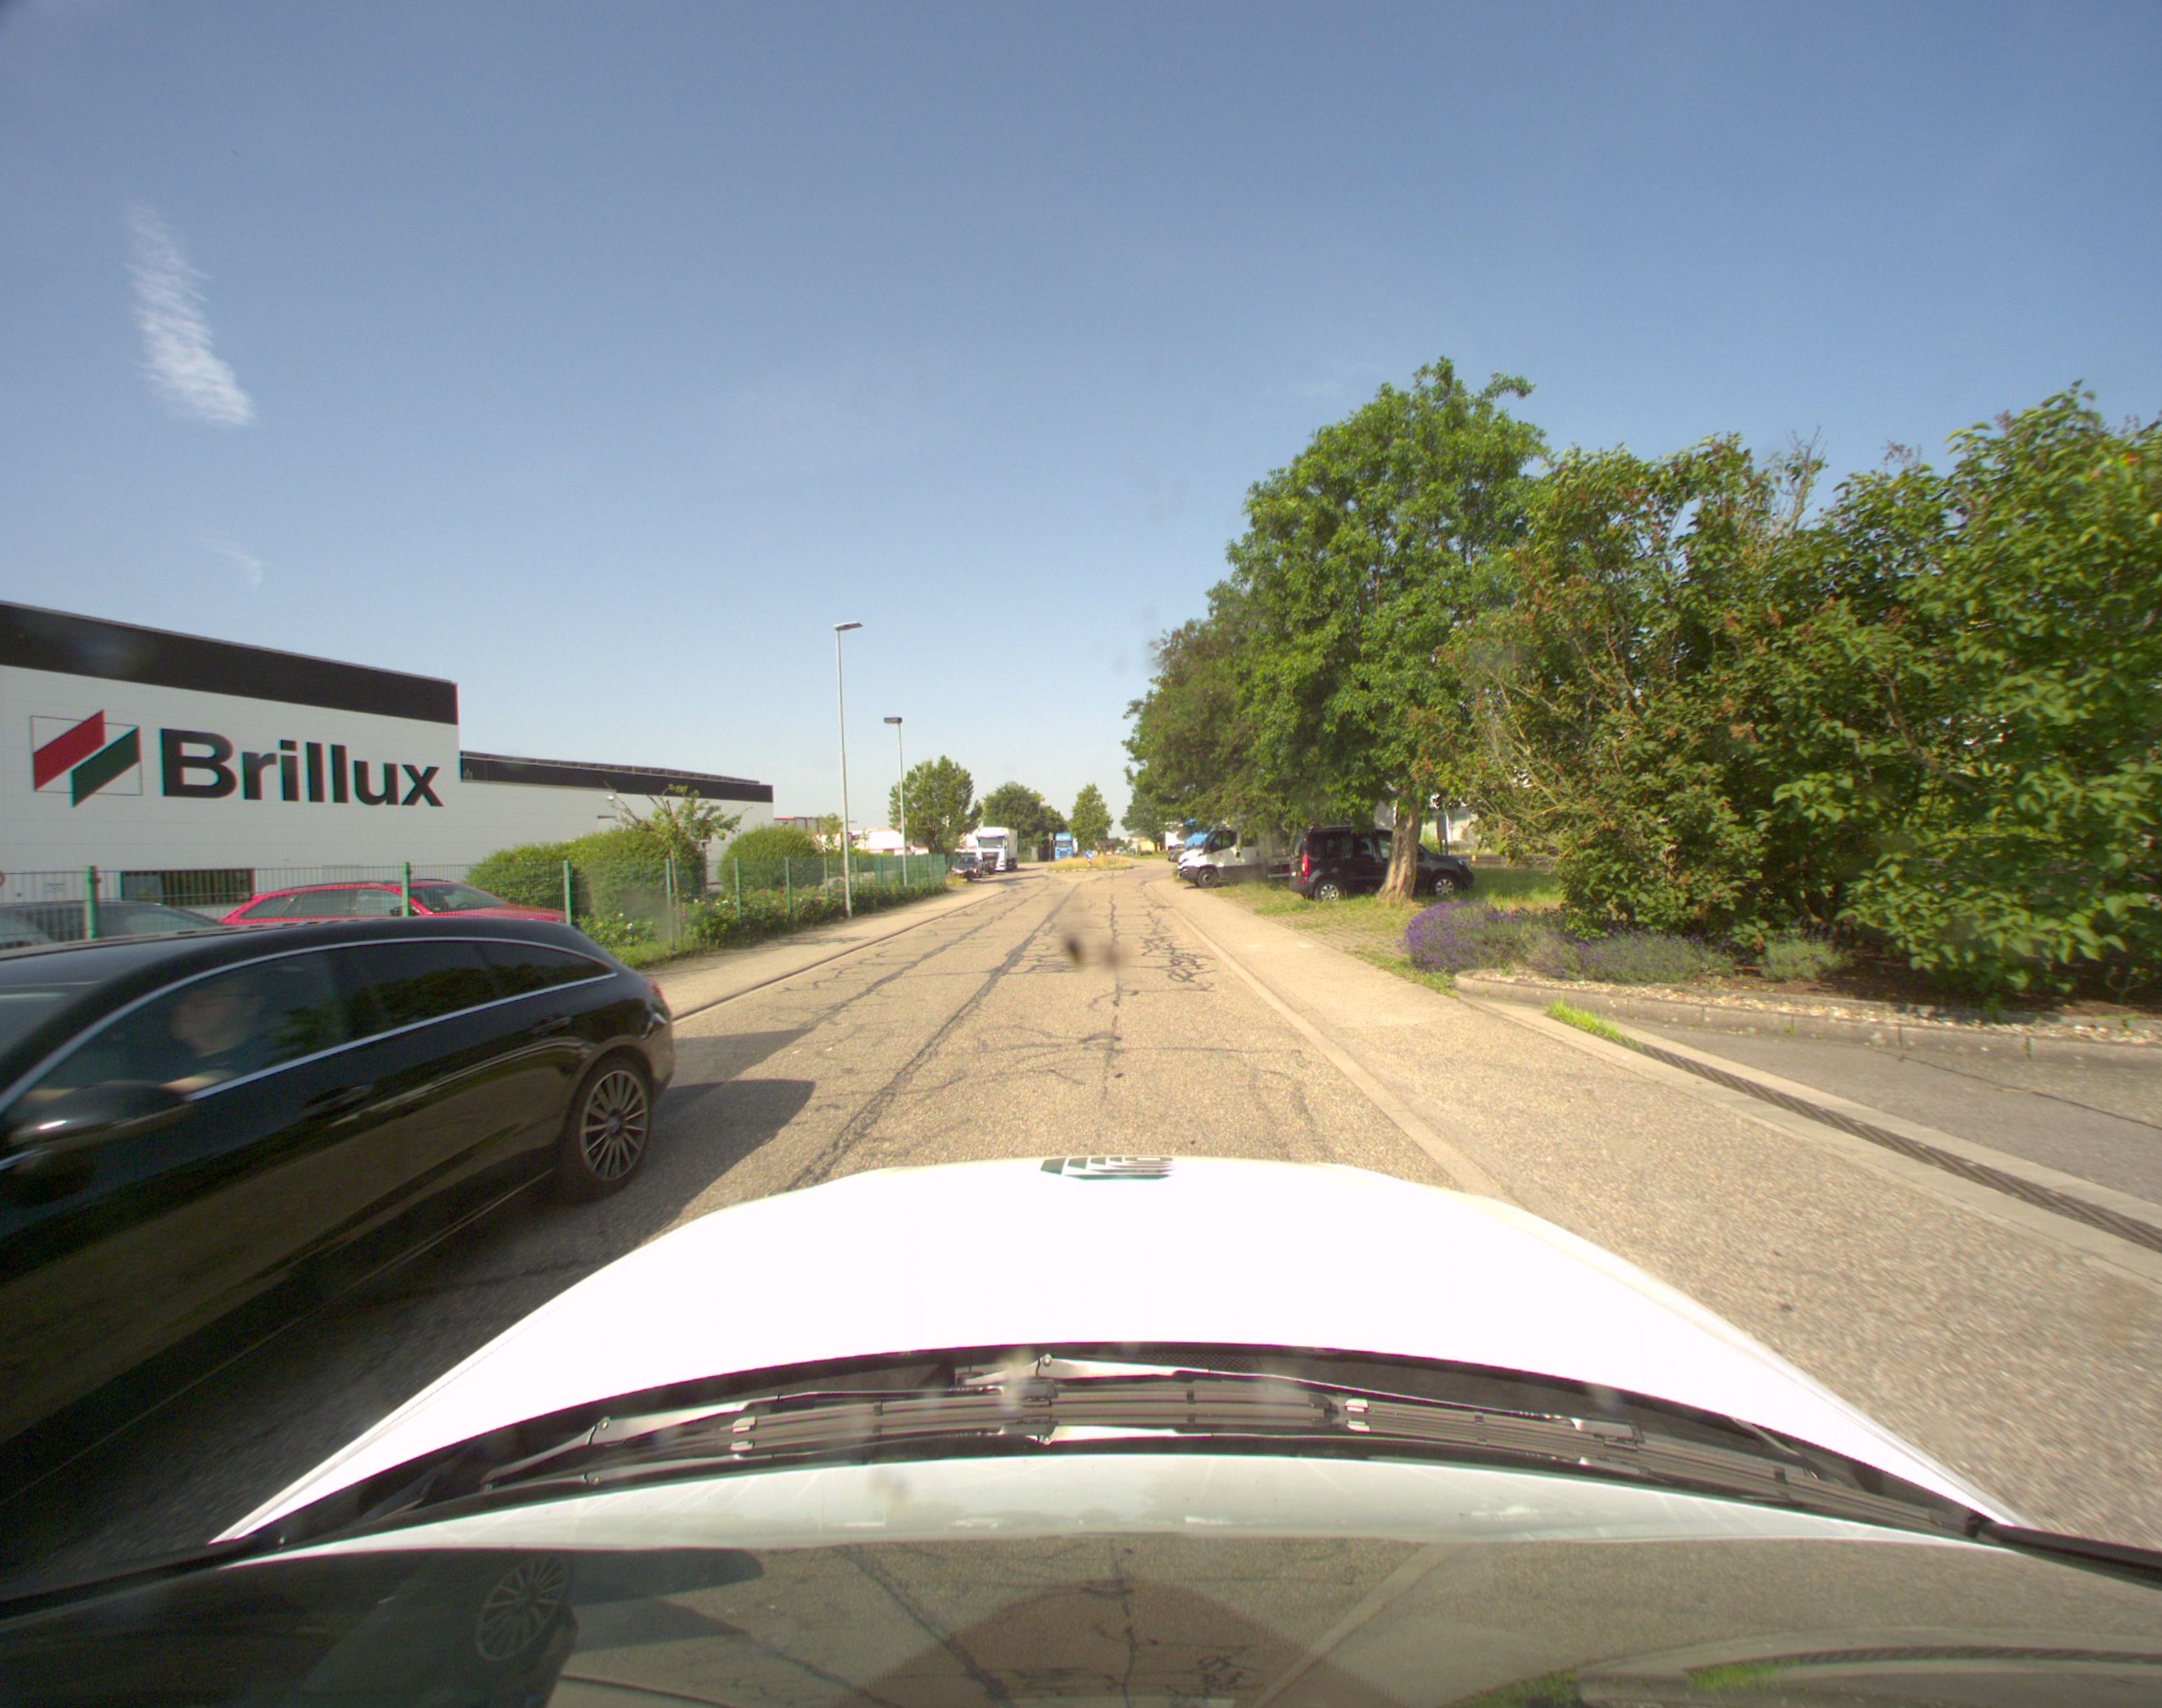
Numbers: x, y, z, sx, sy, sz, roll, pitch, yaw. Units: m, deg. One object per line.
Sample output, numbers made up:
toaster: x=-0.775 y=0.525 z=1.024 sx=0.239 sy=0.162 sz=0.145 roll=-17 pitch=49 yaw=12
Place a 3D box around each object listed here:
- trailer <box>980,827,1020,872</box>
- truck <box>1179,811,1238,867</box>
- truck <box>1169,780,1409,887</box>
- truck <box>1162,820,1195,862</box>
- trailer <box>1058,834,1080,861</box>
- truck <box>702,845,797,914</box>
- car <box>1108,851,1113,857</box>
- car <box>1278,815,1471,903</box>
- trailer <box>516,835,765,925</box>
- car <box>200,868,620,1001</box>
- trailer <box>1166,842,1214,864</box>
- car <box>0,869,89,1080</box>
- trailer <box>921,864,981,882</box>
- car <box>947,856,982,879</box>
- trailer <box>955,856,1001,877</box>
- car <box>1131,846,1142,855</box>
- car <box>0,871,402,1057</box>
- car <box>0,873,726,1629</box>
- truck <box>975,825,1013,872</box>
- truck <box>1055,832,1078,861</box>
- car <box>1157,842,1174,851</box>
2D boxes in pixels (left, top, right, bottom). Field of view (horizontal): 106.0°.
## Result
trailer: x=-7.387 y=-0.362 z=74.770 sx=2.689 sy=3.922 sz=7.577 roll=-1 pitch=-1 yaw=1
truck: x=9.188 y=-0.962 z=59.834 sx=2.877 sy=3.535 sz=9.761 roll=-6 pitch=-1 yaw=3
truck: x=7.596 y=-0.721 z=30.527 sx=8.180 sy=3.370 sz=2.741 roll=-3 pitch=-1 yaw=0
truck: x=10.013 y=-1.330 z=83.782 sx=2.735 sy=3.981 sz=4.002 roll=-5 pitch=0 yaw=2
trailer: x=-1.710 y=-0.853 z=124.142 sx=2.820 sy=3.843 sz=12.040 roll=-1 pitch=-1 yaw=2
truck: x=-20.543 y=1.530 z=50.759 sx=2.493 sy=4.071 sz=5.568 roll=-1 pitch=-1 yaw=17
car: x=9.316 y=0.054 z=257.526 sx=1.712 sy=1.661 sz=3.823 roll=-1 pitch=-1 yaw=0
car: x=7.032 y=0.124 z=19.887 sx=3.970 sy=1.838 sz=2.002 roll=-3 pitch=0 yaw=3
trailer: x=-22.742 y=1.271 z=43.815 sx=2.462 sy=4.042 sz=13.951 roll=-1 pitch=-1 yaw=18
car: x=-9.717 y=1.113 z=12.083 sx=4.520 sy=1.444 sz=1.953 roll=-4 pitch=0 yaw=1
trailer: x=9.769 y=-0.091 z=74.718 sx=2.735 sy=1.574 sz=16.181 roll=-5 pitch=0 yaw=2
car: x=-9.484 y=0.979 z=5.160 sx=4.026 sy=1.444 sz=1.874 roll=-4 pitch=0 yaw=1
trailer: x=-8.043 y=1.163 z=51.052 sx=2.538 sy=0.925 sz=6.711 roll=1 pitch=0 yaw=1
car: x=-8.215 y=0.924 z=57.607 sx=1.689 sy=1.561 sz=4.338 roll=0 pitch=0 yaw=2
trailer: x=-8.022 y=0.968 z=63.959 sx=2.670 sy=1.453 sz=5.081 roll=-2 pitch=0 yaw=3
car: x=10.609 y=-0.642 z=155.322 sx=1.785 sy=1.750 sz=4.001 roll=-1 pitch=-1 yaw=1
car: x=-9.558 y=1.056 z=8.050 sx=4.026 sy=1.444 sz=1.874 roll=-4 pitch=0 yaw=1
car: x=-3.208 y=0.919 z=2.689 sx=1.987 sy=1.449 sz=4.419 roll=-5 pitch=0 yaw=0
truck: x=-7.503 y=-0.448 z=70.452 sx=2.699 sy=3.922 sz=4.297 roll=-1 pitch=-1 yaw=1
truck: x=-1.982 y=-0.989 z=114.928 sx=2.814 sy=3.826 sz=9.676 roll=-1 pitch=-1 yaw=2
car: x=13.577 y=-1.177 z=130.973 sx=1.670 sy=1.330 sz=3.645 roll=0 pitch=-1 yaw=-14
